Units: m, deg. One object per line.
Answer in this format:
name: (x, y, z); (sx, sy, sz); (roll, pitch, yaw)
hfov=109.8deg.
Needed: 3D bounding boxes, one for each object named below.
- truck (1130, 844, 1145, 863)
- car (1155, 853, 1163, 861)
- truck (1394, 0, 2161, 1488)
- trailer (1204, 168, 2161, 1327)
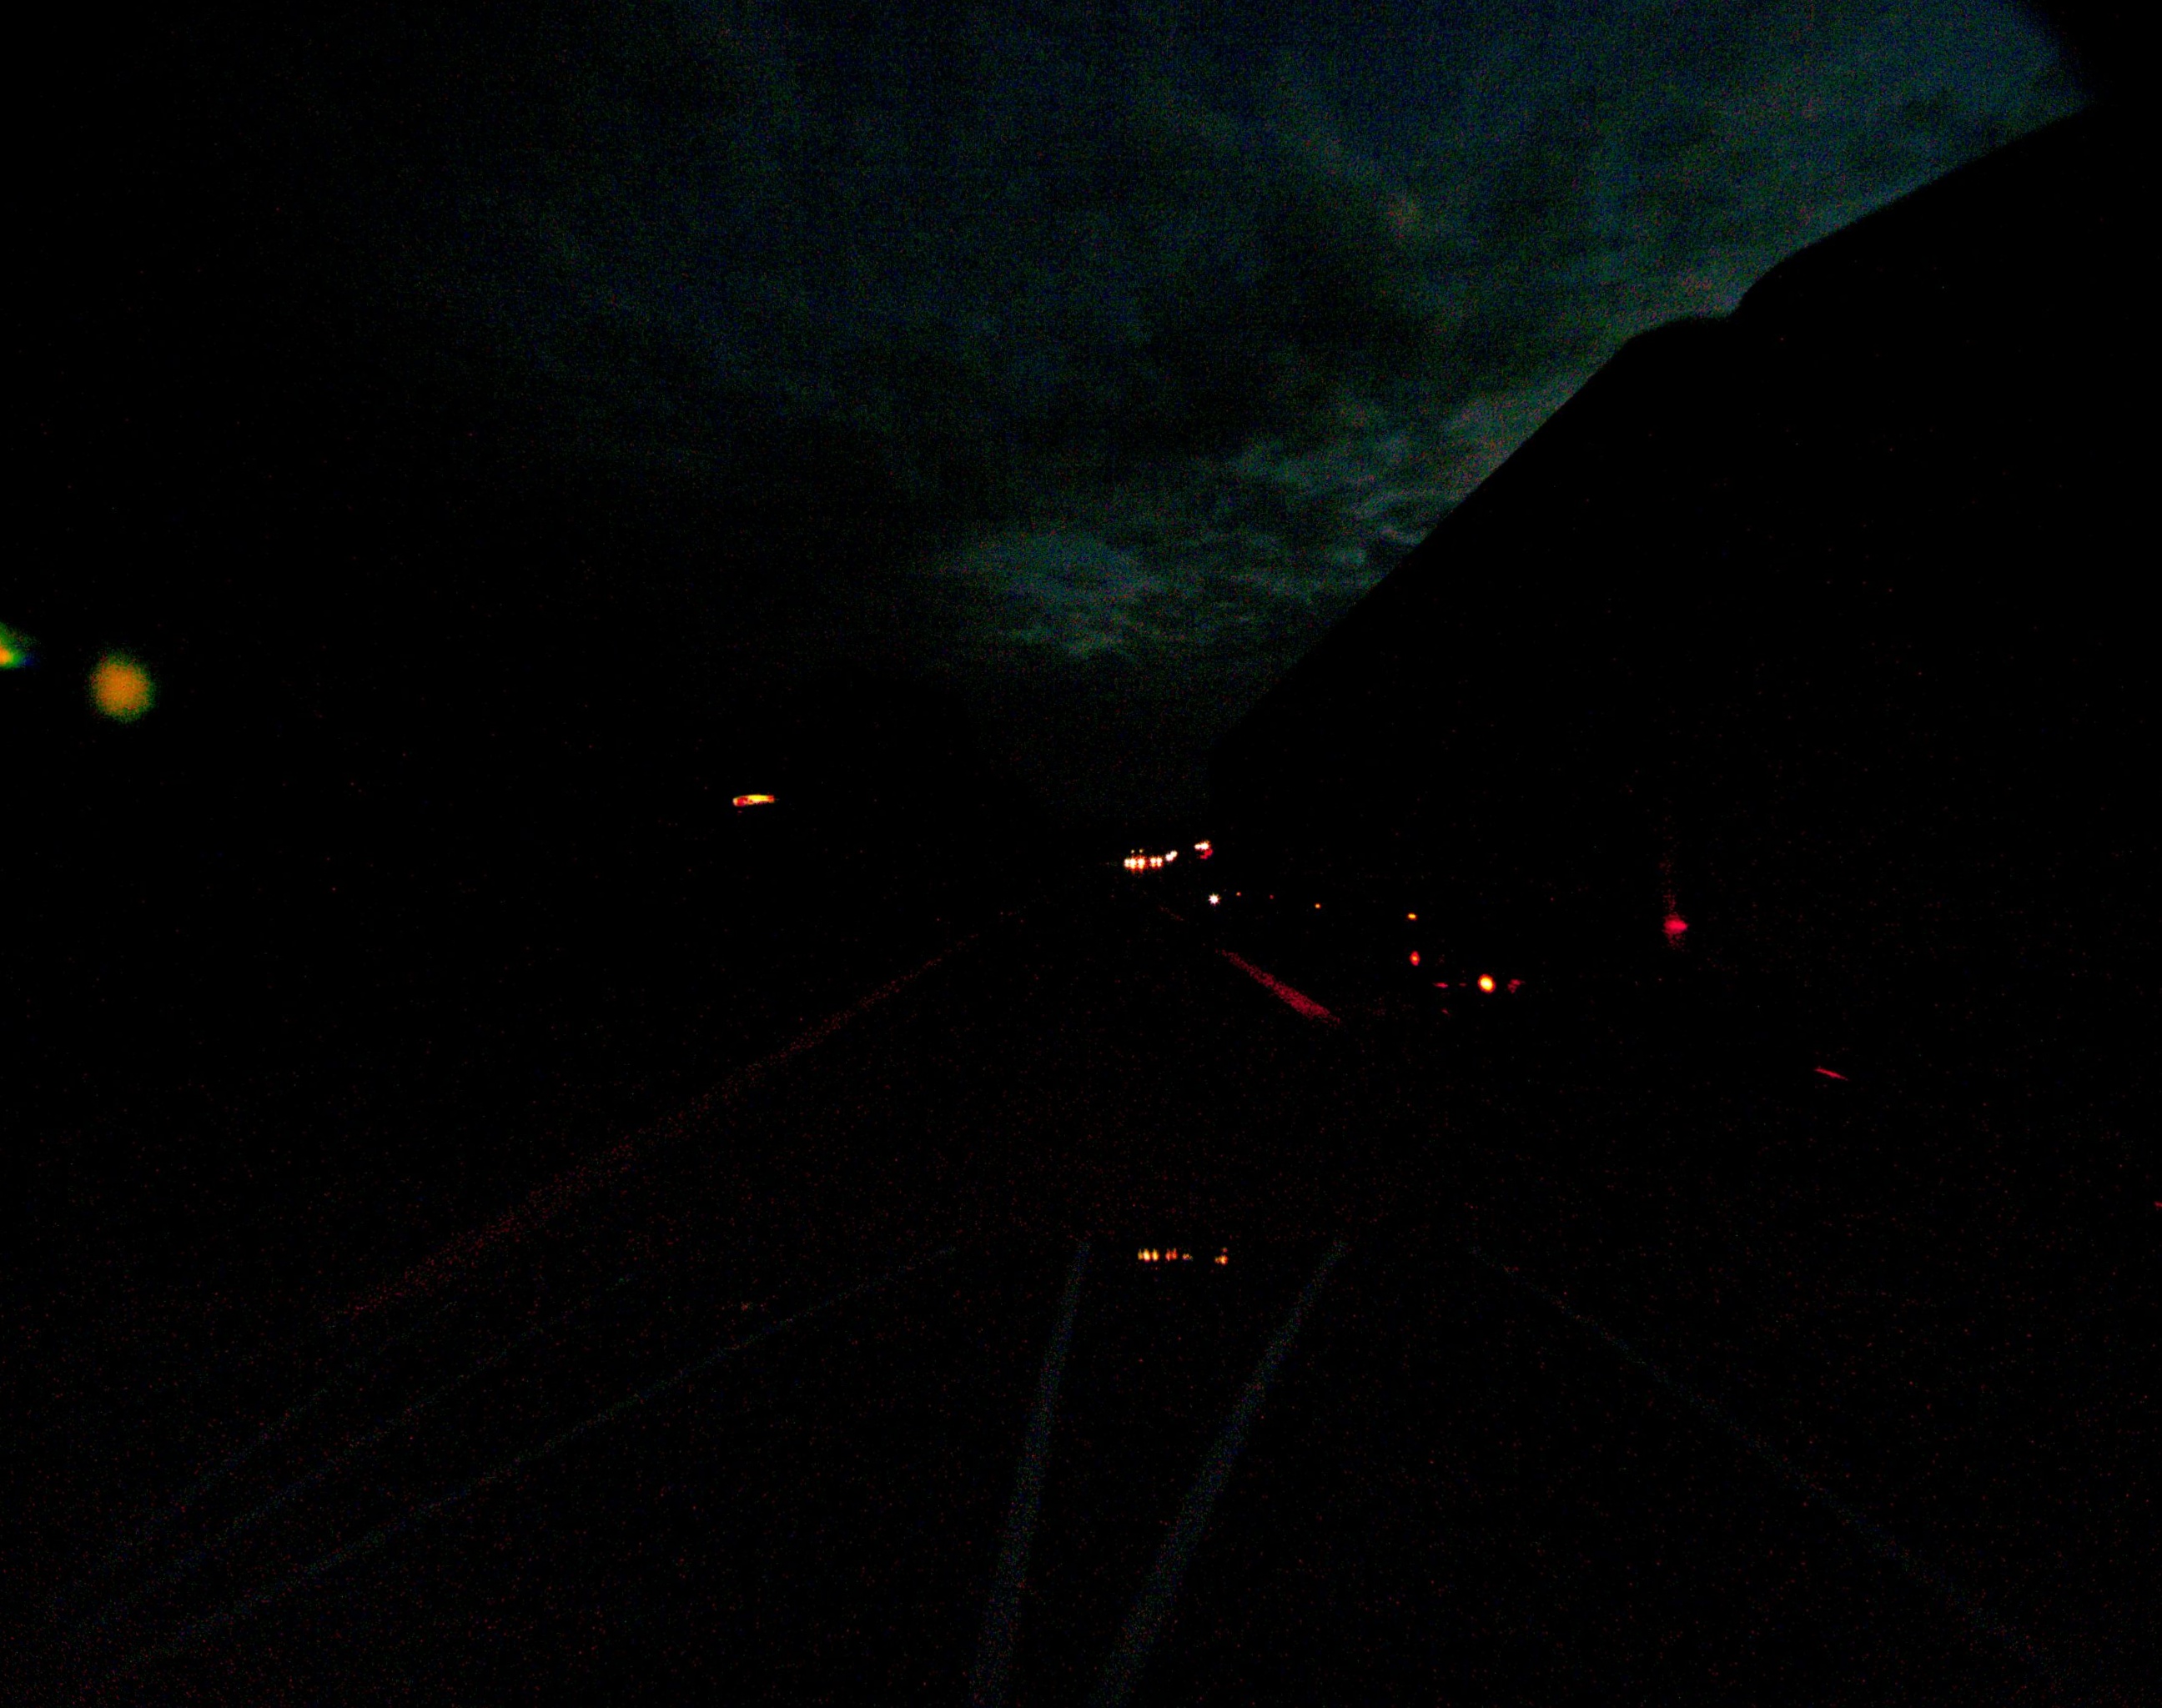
truck: (13.374, -0.173, 181.614); (3.352, 4.293, 11.328); (-1, 0, 4)
car: (20.525, 0.788, 199.534); (1.998, 2.002, 4.001); (-1, 0, 3)
truck: (4.082, -0.374, 3.410); (2.786, 3.879, 6.154); (-2, 0, 1)
trailer: (4.154, -0.349, 9.972); (2.781, 3.892, 14.820); (-2, 0, 1)
